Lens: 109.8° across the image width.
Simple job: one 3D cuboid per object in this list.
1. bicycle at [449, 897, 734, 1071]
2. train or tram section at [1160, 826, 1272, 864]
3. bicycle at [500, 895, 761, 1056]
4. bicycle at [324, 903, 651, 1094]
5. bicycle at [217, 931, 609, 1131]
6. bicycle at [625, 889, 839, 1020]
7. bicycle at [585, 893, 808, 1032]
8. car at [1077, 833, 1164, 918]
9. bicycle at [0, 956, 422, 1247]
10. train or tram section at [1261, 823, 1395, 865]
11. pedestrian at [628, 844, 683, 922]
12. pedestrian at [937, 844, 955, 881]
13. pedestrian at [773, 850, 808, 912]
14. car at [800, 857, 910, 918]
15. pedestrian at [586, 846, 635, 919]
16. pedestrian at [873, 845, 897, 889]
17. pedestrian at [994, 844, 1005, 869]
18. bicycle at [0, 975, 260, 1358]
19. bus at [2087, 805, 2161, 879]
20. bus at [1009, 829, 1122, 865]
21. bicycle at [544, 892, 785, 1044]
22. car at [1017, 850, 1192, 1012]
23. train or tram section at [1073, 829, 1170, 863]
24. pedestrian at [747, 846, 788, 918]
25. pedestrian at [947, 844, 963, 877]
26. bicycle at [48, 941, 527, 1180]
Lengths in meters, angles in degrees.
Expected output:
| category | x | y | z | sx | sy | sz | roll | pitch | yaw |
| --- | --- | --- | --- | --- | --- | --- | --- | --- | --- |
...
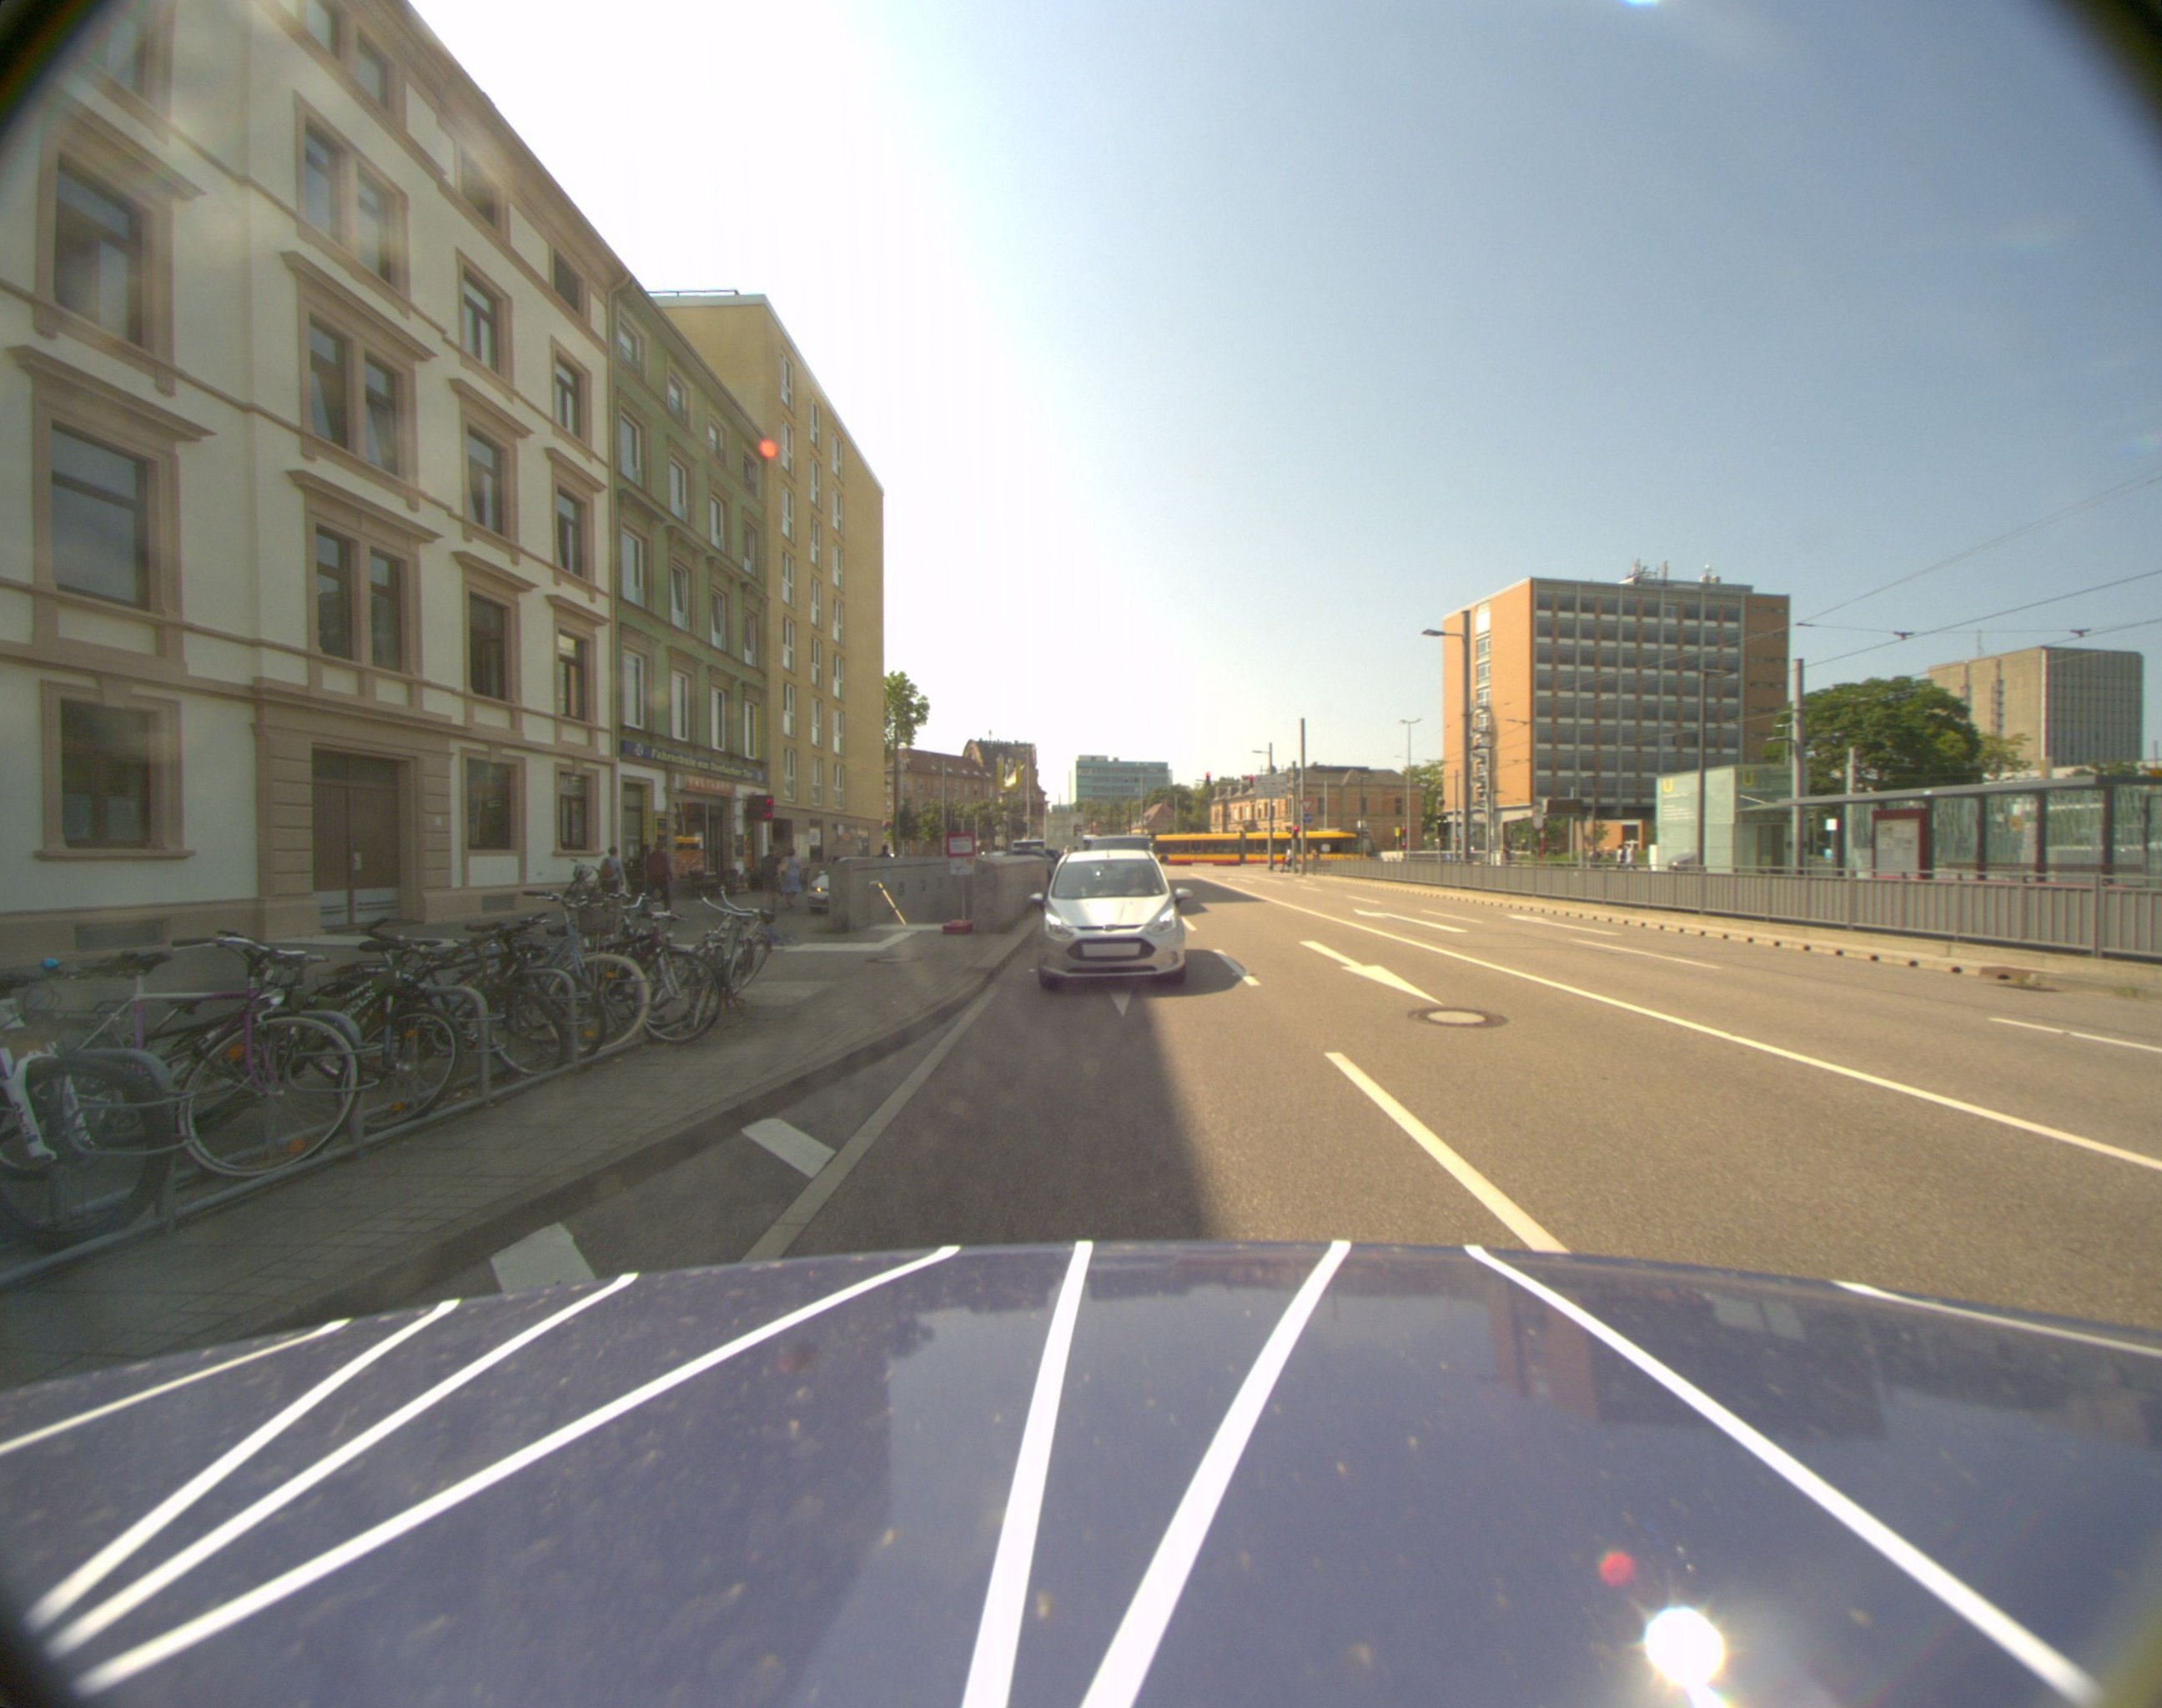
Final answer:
| category | x | y | z | sx | sy | sz | roll | pitch | yaw |
| --- | --- | --- | --- | --- | --- | --- | --- | --- | --- |
| bicycle | -3.653 | 0.960 | 5.726 | 1.841 | 1.196 | 0.434 | -2 | 1 | 2 |
| train or tram section | 13.956 | -0.952 | 79.981 | 12.331 | 3.743 | 2.004 | 0 | 1 | 41 |
| bicycle | -3.620 | 0.967 | 6.162 | 1.841 | 1.196 | 0.434 | -2 | 1 | 2 |
| bicycle | -4.111 | 0.983 | 5.334 | 1.841 | 1.196 | 0.549 | -2 | 1 | 2 |
| bicycle | -4.067 | 1.062 | 4.715 | 1.841 | 1.050 | 0.657 | -2 | 1 | 2 |
| bicycle | -3.495 | 0.992 | 7.700 | 1.841 | 1.196 | 0.637 | -2 | 1 | 2 |
| bicycle | -3.565 | 1.000 | 7.102 | 1.841 | 1.196 | 0.434 | -2 | 1 | 2 |
| car | 1.017 | 0.478 | 20.358 | 1.998 | 1.953 | 4.815 | -1 | 1 | 2 |
| bicycle | -4.128 | 1.043 | 3.359 | 1.841 | 1.047 | 0.657 | -2 | 1 | 2 |
| train or tram section | 23.005 | -0.907 | 71.648 | 12.331 | 3.743 | 2.004 | 0 | 1 | 43 |
| pedestrian | -9.621 | 0.638 | 17.228 | 0.772 | 1.724 | 0.881 | 1 | 1 | -3 |
| pedestrian | -6.072 | 0.365 | 34.222 | 0.645 | 1.619 | 0.796 | 1 | 1 | 0 |
| pedestrian | -7.823 | 0.711 | 20.505 | 0.645 | 1.619 | 0.796 | 1 | 1 | -1 |
| car | -6.077 | 0.834 | 20.897 | 1.666 | 1.418 | 3.934 | 2 | 1 | 3 |
| pedestrian | -10.737 | 0.639 | 17.368 | 0.645 | 1.619 | 0.796 | 1 | 1 | -3 |
| pedestrian | -7.278 | 0.479 | 28.239 | 0.645 | 1.619 | 0.796 | 1 | 1 | 0 |
| pedestrian | -5.470 | 0.164 | 51.187 | 0.645 | 1.619 | 0.796 | 1 | 1 | 0 |
| bicycle | -4.154 | 1.028 | 2.661 | 1.841 | 1.054 | 0.657 | -2 | 1 | 2 |
| bus | 52.512 | -0.673 | 31.083 | 3.357 | 3.276 | 13.371 | -3 | 1 | -44 |
| bus | -1.789 | -0.627 | 74.549 | 12.309 | 3.120 | 2.927 | -2 | 1 | 42 |
| bicycle | -3.601 | 0.975 | 6.623 | 1.841 | 1.212 | 0.434 | -2 | 1 | 2 |
| car | 0.317 | 0.796 | 9.847 | 1.728 | 1.579 | 4.000 | -3 | 1 | 2 |
| train or tram section | 4.472 | -0.941 | 87.893 | 12.331 | 3.743 | 2.004 | 0 | 1 | 38 |
| pedestrian | -7.789 | 0.671 | 18.918 | 0.688 | 1.748 | 0.796 | 1 | 1 | 1 |
| pedestrian | -6.289 | 0.325 | 37.941 | 0.645 | 1.619 | 0.796 | 1 | 1 | 1 |
| bicycle | -4.108 | 1.050 | 4.025 | 1.841 | 1.054 | 0.657 | -2 | 1 | 2 |
